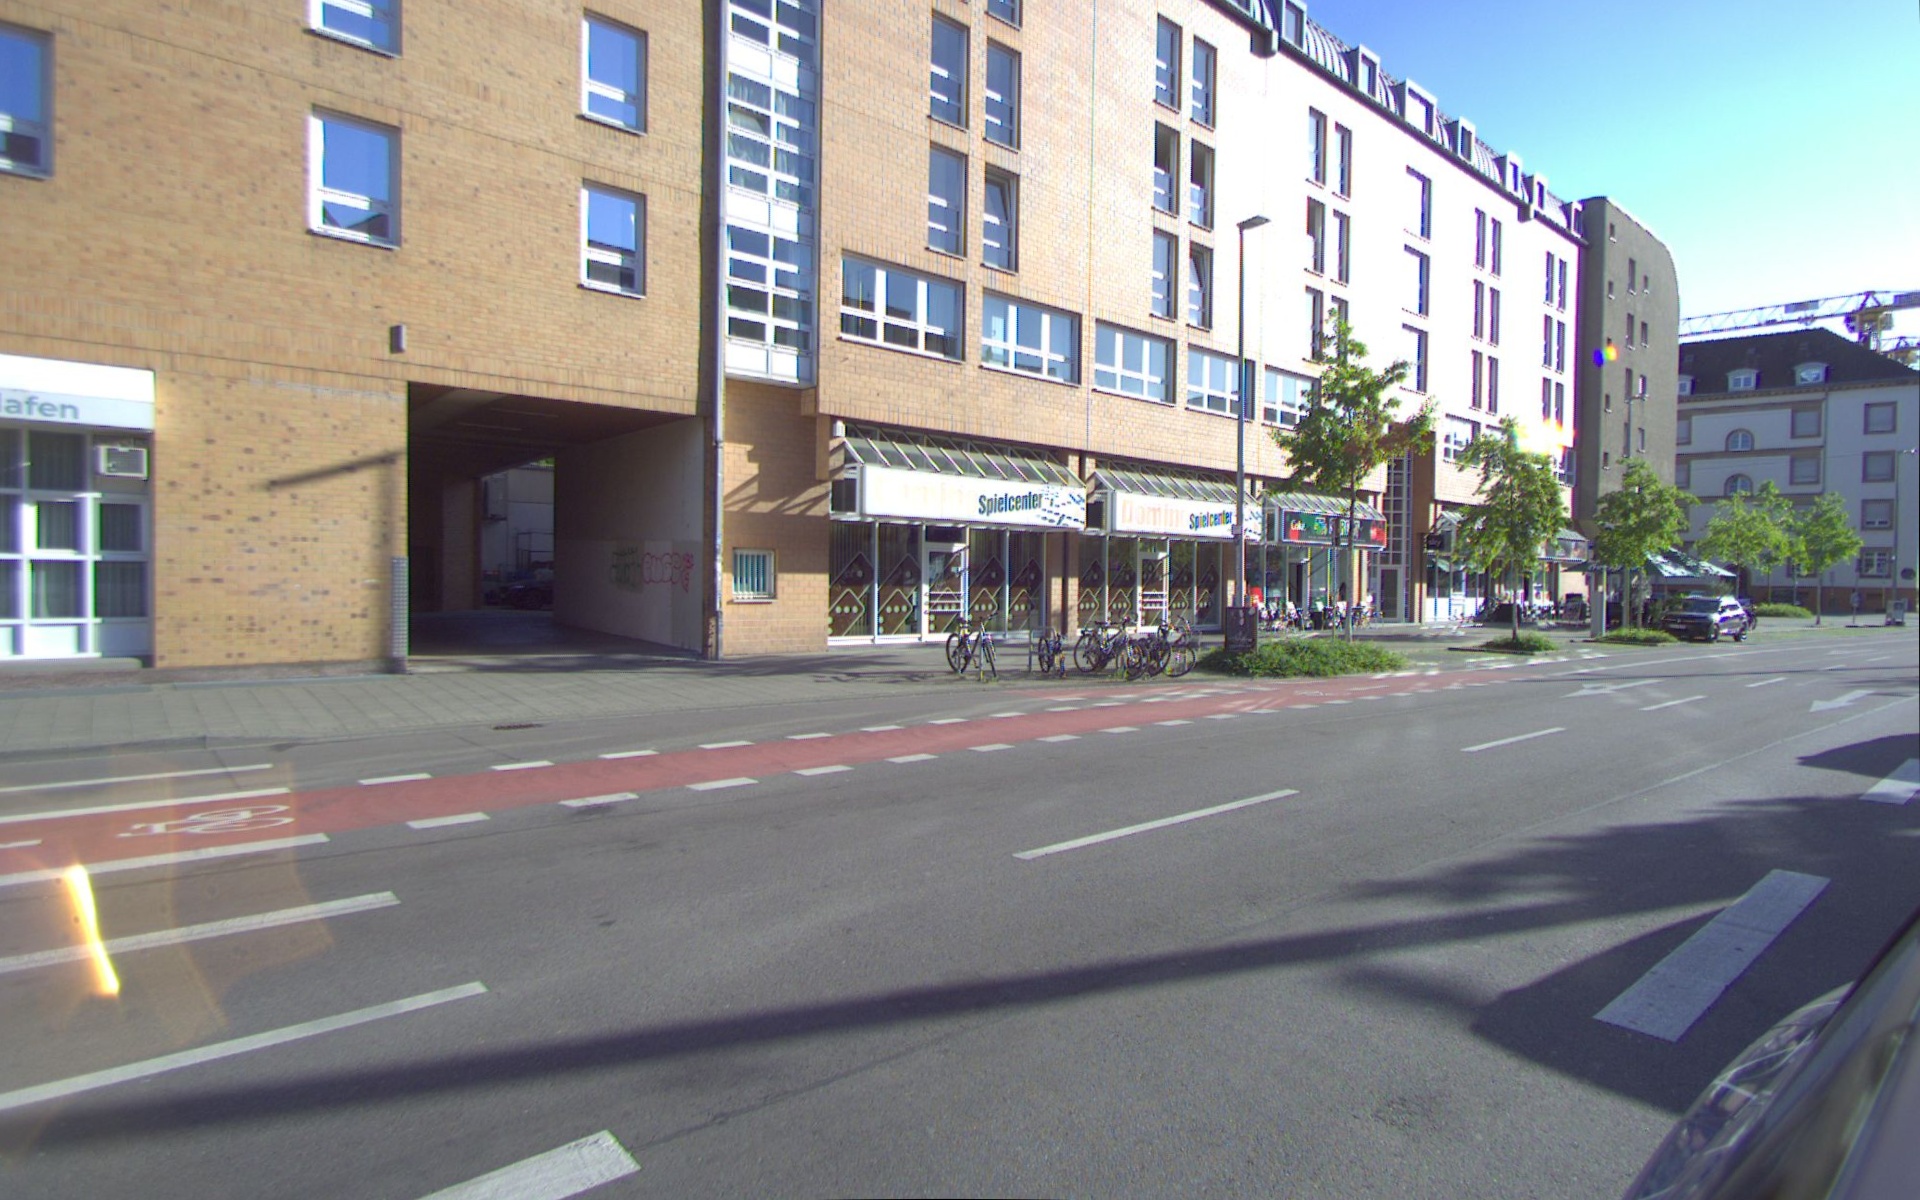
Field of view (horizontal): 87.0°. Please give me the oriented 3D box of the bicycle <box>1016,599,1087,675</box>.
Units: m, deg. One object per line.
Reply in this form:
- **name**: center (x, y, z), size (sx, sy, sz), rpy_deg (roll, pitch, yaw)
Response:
- **bicycle**: center (1.579, 0.618, 17.756), size (0.541, 1.162, 1.780), rpy_deg (-1, 3, -20)

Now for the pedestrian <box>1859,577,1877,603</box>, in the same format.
- **pedestrian**: center (59.504, -0.647, 66.329), size (0.801, 1.687, 0.878), rpy_deg (2, 1, 42)

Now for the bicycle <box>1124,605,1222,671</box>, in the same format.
- **bicycle**: center (4.025, 0.688, 19.245), size (0.724, 1.084, 1.775), rpy_deg (-2, 4, -37)

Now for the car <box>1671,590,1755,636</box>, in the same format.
- **car**: center (26.921, 0.420, 36.151), size (3.628, 1.549, 1.654), rpy_deg (-1, 1, -40)

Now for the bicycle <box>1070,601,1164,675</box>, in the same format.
- **bicycle**: center (2.806, 0.654, 18.229), size (0.543, 1.155, 1.775), rpy_deg (-2, 4, -37)

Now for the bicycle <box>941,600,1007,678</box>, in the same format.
- **bicycle**: center (0.212, 0.636, 17.286), size (0.541, 1.162, 1.780), rpy_deg (-1, 3, -20)
